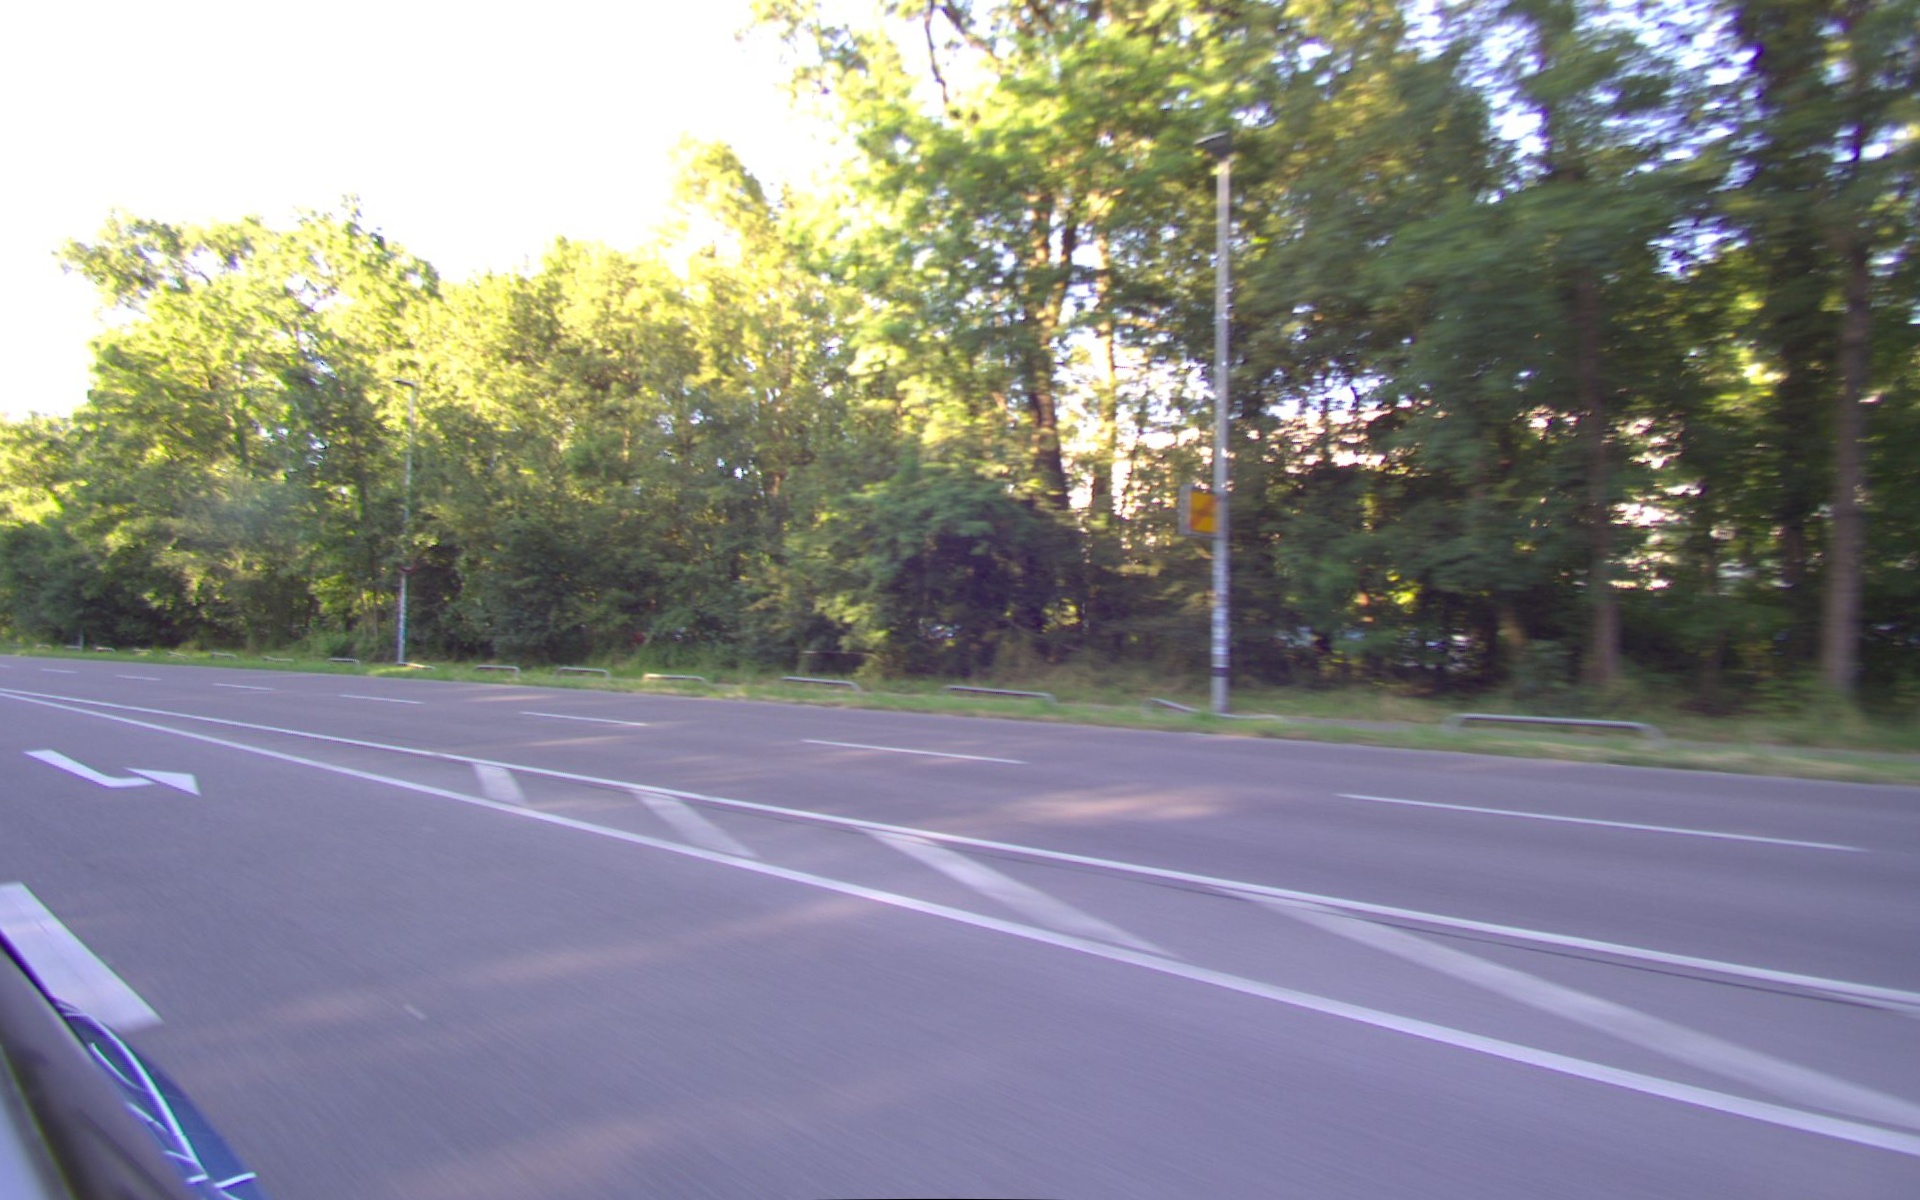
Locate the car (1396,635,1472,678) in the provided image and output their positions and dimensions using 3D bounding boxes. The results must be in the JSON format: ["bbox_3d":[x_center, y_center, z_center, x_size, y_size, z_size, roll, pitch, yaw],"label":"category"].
[{"bbox_3d":[18.523,2.158,39.485,1.780,1.494,3.947,-1,-1,39],"label":"car"}]
